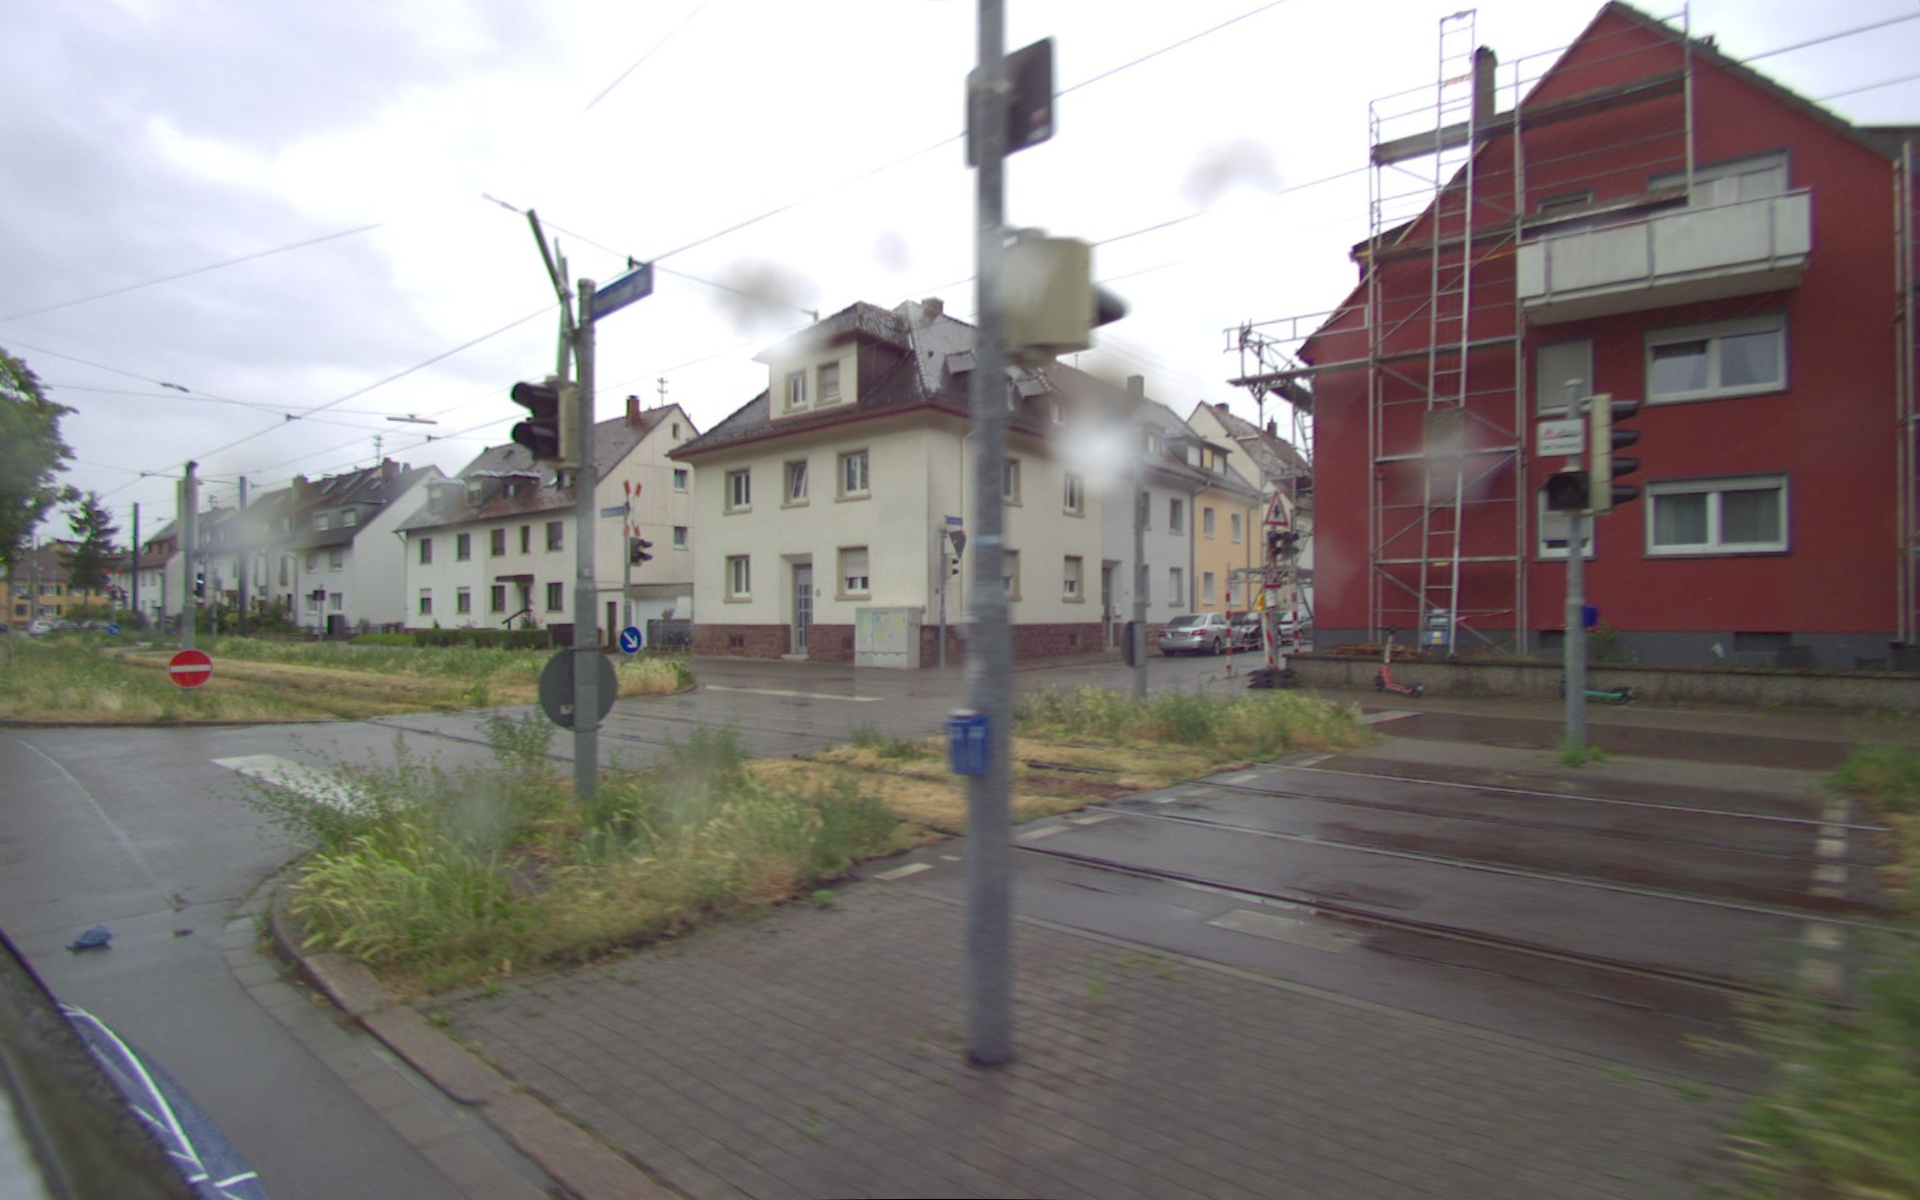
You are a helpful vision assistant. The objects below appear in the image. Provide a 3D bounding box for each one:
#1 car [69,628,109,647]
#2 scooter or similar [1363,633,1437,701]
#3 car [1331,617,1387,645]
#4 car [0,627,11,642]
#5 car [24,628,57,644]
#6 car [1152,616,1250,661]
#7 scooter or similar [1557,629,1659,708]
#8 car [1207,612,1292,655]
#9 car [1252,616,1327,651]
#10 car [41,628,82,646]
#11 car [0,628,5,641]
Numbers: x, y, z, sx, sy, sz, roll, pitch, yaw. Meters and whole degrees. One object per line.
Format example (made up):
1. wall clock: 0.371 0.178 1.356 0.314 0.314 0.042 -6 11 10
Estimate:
1. car: -68.359 2.929 79.392 3.934 1.437 1.754 -2 -3 40
2. scooter or similar: 7.734 1.151 17.843 0.434 1.138 1.287 0 -1 -18
3. car: 20.860 1.599 52.836 1.788 1.378 4.314 -1 -1 35
4. car: -107.521 3.829 112.973 3.997 1.602 1.888 -1 -2 40
5. car: -86.414 3.400 95.052 3.996 1.451 1.694 -1 -3 39
6. car: 8.240 1.267 34.351 1.838 1.412 4.314 -1 -1 35
7. scooter or similar: 10.163 1.051 15.910 0.388 1.189 1.286 1 -2 -33
8. car: 11.113 1.255 38.635 1.838 1.532 4.314 -1 -1 35
9. car: 13.811 1.385 42.325 1.838 1.390 4.314 -1 -1 35
10. car: -77.952 3.216 87.755 4.751 1.543 1.868 -1 -3 39
11. car: -111.061 3.950 116.030 3.997 1.541 1.858 -1 -2 40
